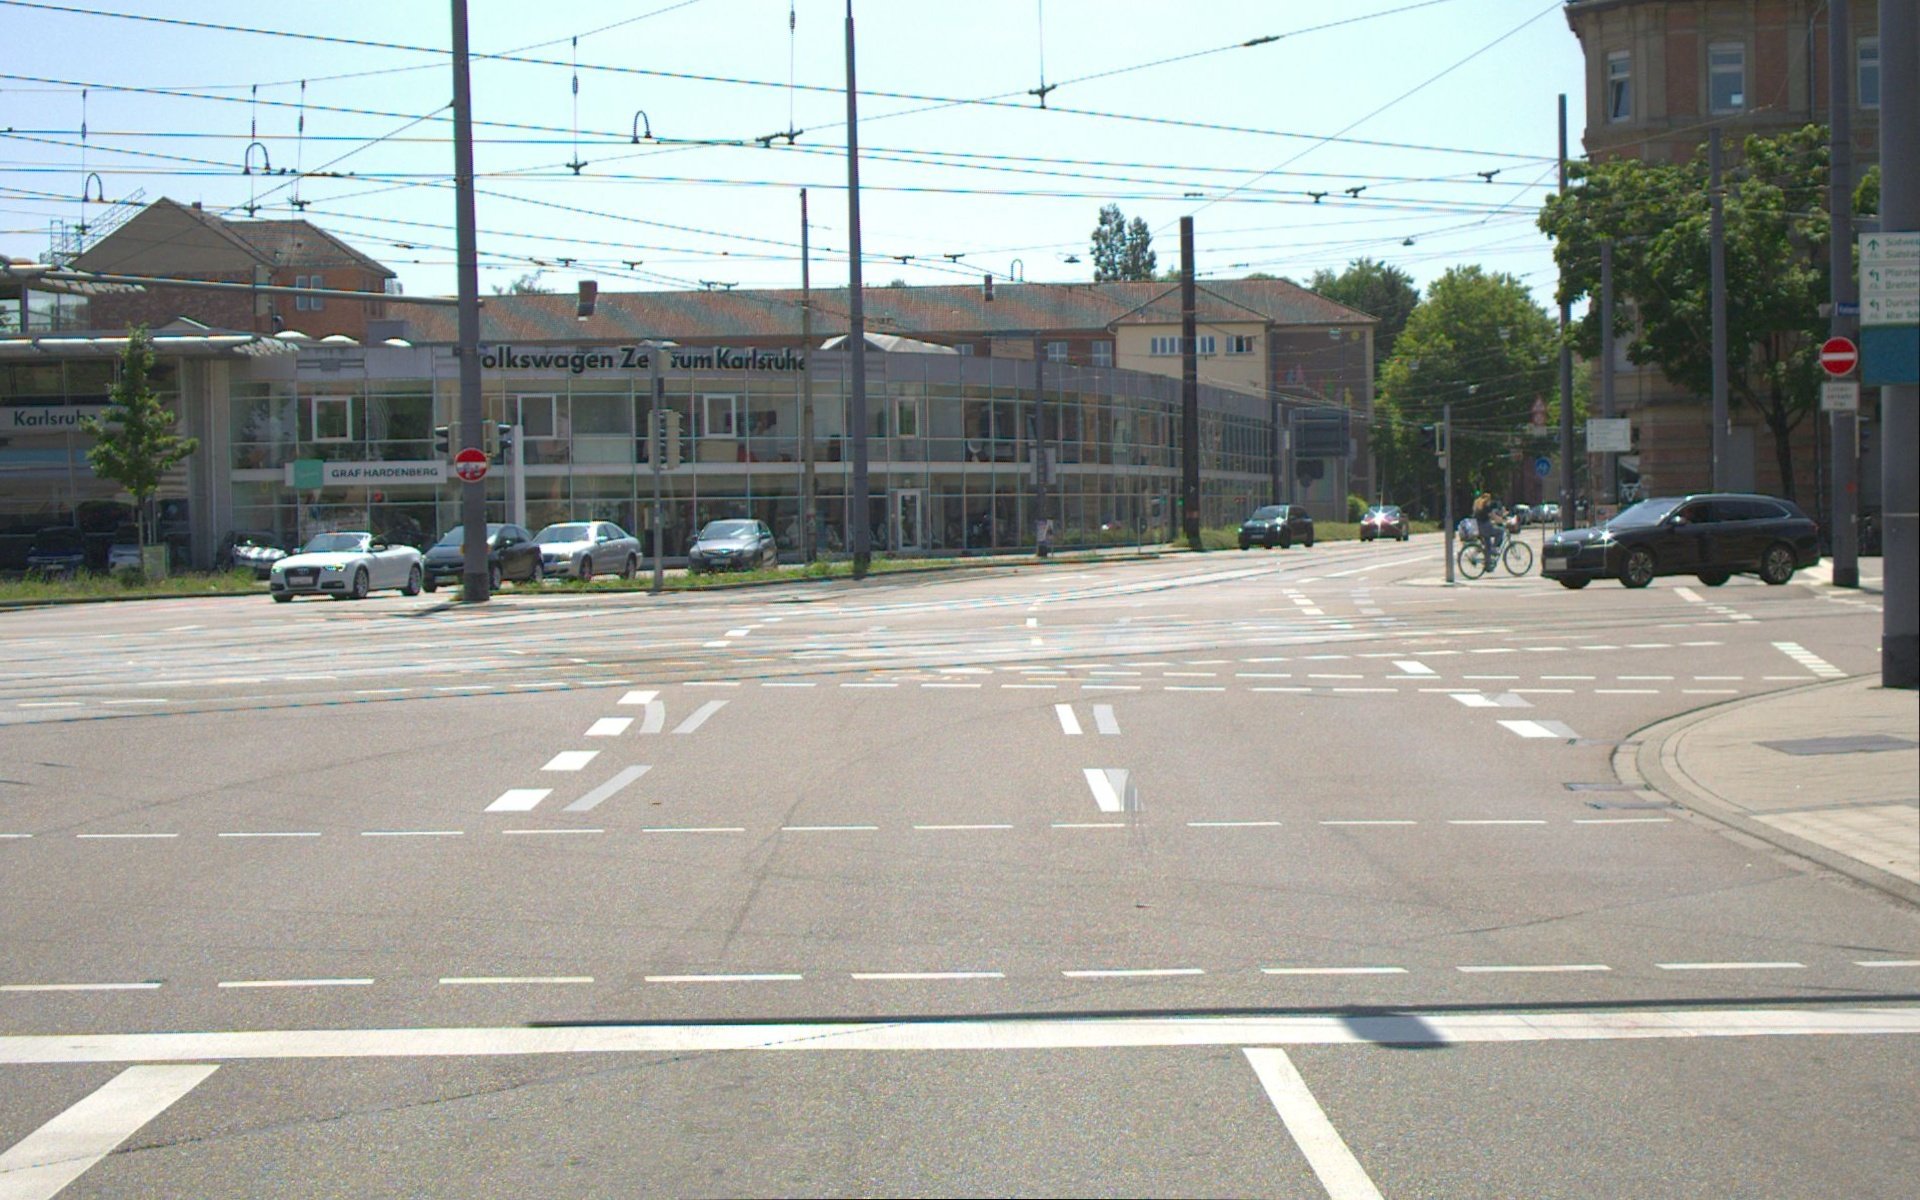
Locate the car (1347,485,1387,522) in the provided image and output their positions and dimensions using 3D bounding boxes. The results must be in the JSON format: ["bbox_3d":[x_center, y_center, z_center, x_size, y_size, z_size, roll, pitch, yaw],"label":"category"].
[{"bbox_3d":[18.040,-4.265,152.300,1.586,1.523,3.715,1,3,9],"label":"car"}]

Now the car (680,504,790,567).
[{"bbox_3d":[-5.537,-1.612,85.003,1.572,1.422,3.611,1,3,16],"label":"car"}]

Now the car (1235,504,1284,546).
[{"bbox_3d":[11.303,-2.844,129.557,1.531,1.454,3.551,1,3,10],"label":"car"}]

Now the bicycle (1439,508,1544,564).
[{"bbox_3d":[10.899,-1.320,70.527,2.160,1.103,0.457,-1,3,-19],"label":"bicycle"}]

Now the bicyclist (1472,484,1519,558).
[{"bbox_3d":[10.986,-1.624,70.544,0.731,1.474,0.656,-1,3,-20],"label":"bicyclist"}]

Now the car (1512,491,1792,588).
[{"bbox_3d":[11.143,-0.991,55.385,4.100,1.446,1.698,-1,3,-18],"label":"car"}]

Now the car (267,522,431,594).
[{"bbox_3d":[-12.278,-0.867,69.332,1.621,1.385,4.121,0,1,16],"label":"car"}]

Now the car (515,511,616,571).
[{"bbox_3d":[-9.303,-1.407,81.263,1.432,1.281,3.260,1,3,11],"label":"car"}]

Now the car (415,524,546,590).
[{"bbox_3d":[-10.450,-0.954,75.185,1.539,1.273,3.537,1,3,16],"label":"car"}]
